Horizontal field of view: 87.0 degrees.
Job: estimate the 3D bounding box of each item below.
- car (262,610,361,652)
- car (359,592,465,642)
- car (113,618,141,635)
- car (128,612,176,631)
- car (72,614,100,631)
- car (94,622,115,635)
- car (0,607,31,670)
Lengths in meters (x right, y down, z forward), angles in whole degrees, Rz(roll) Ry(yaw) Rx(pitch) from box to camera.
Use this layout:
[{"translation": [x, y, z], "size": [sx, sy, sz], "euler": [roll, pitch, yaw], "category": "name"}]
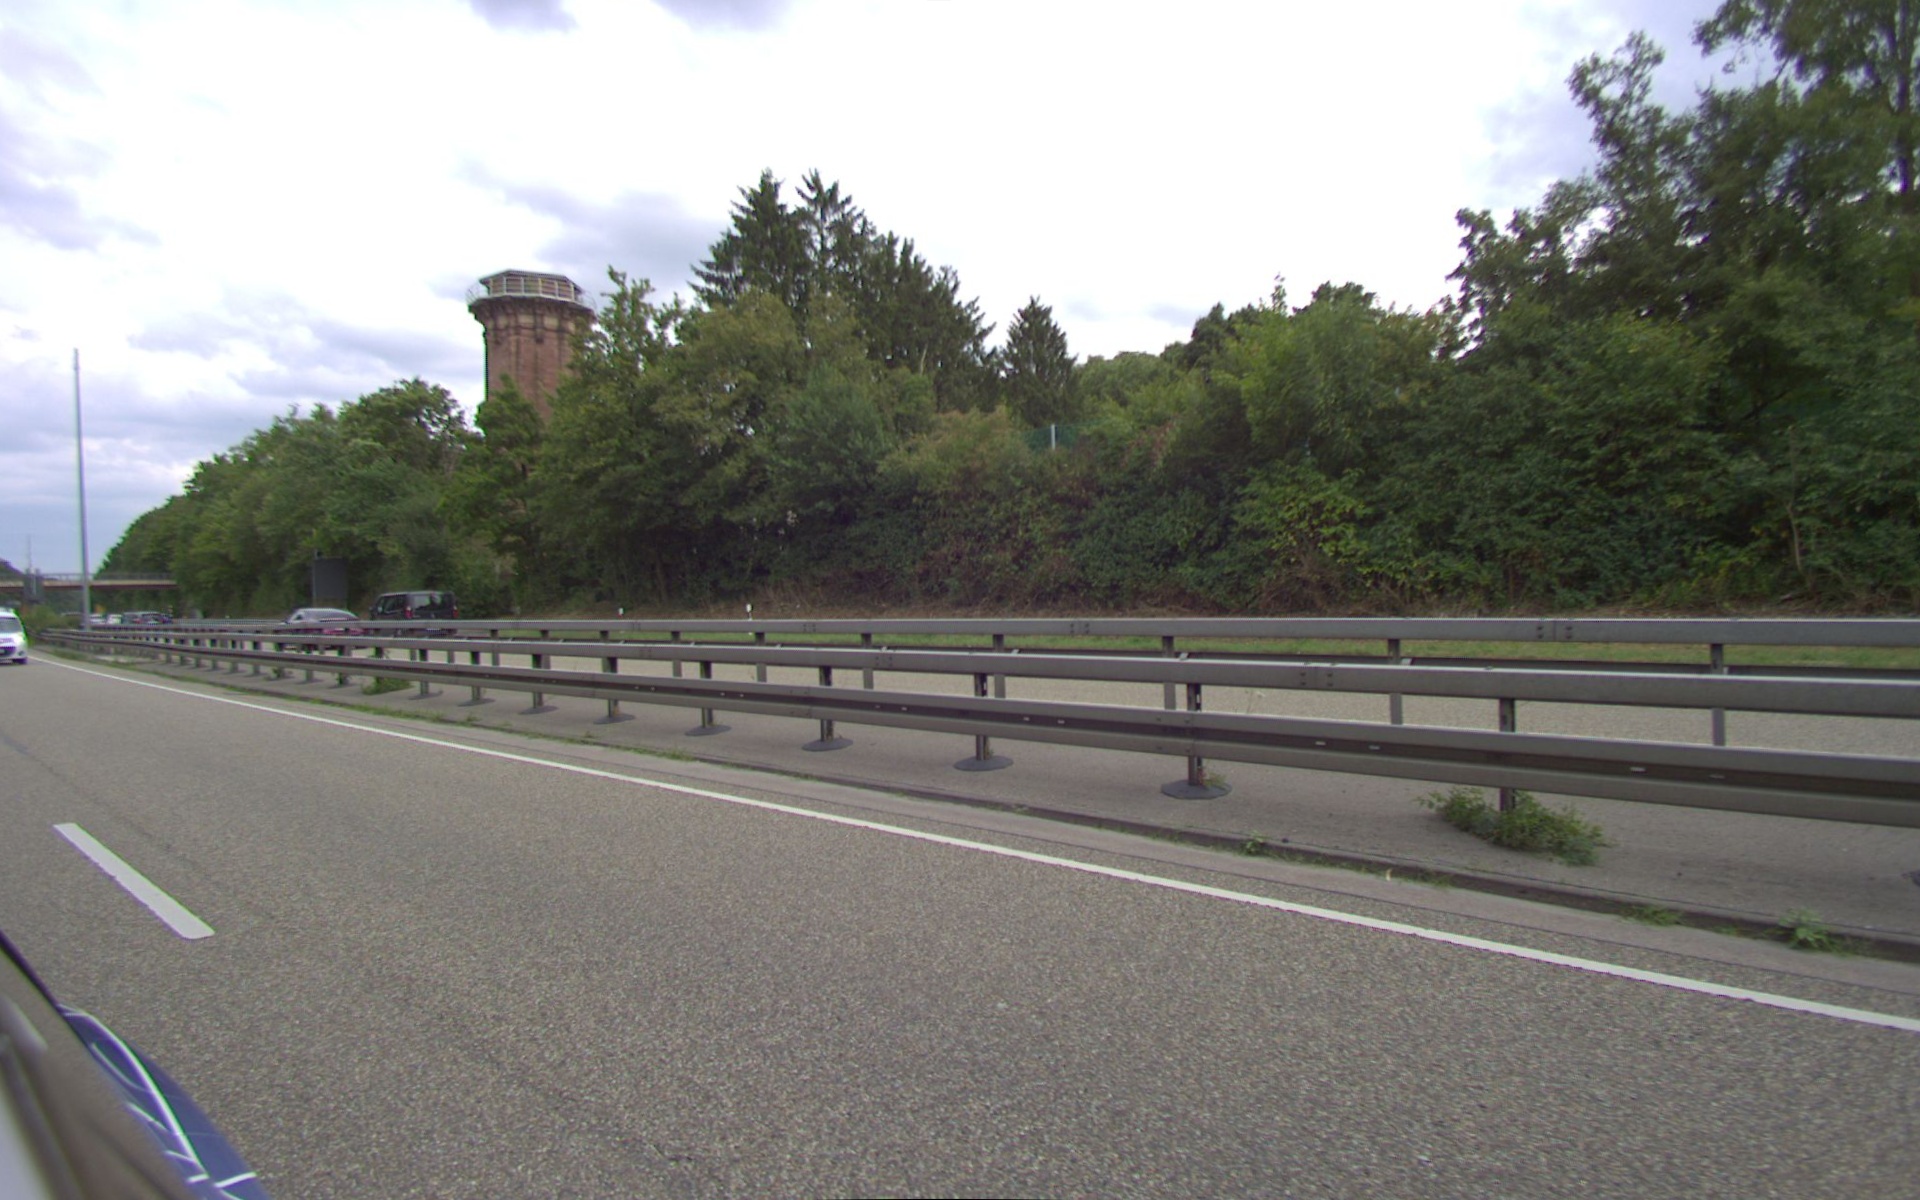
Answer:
[{"translation": [-21.764, 1.013, 33.882], "size": [4.712, 1.288, 1.637], "euler": [-1, -1, 42], "category": "car"}, {"translation": [-21.186, 0.651, 39.038], "size": [5.122, 1.817, 2.013], "euler": [-1, -1, 42], "category": "car"}, {"translation": [-84.082, 2.679, 102.127], "size": [4.132, 1.613, 1.712], "euler": [-1, -1, 43], "category": "car"}, {"translation": [-56.369, 1.485, 70.566], "size": [4.067, 1.309, 1.957], "euler": [-1, -1, 41], "category": "car"}, {"translation": [-77.885, 1.998, 90.190], "size": [1.692, 1.438, 4.060], "euler": [0, -1, -44], "category": "car"}, {"translation": [-100.237, 3.355, 118.582], "size": [3.729, 1.519, 1.610], "euler": [-1, -1, 44], "category": "car"}, {"translation": [-32.503, 1.250, 33.739], "size": [4.421, 2.020, 1.798], "euler": [-1, -1, 41], "category": "car"}]
